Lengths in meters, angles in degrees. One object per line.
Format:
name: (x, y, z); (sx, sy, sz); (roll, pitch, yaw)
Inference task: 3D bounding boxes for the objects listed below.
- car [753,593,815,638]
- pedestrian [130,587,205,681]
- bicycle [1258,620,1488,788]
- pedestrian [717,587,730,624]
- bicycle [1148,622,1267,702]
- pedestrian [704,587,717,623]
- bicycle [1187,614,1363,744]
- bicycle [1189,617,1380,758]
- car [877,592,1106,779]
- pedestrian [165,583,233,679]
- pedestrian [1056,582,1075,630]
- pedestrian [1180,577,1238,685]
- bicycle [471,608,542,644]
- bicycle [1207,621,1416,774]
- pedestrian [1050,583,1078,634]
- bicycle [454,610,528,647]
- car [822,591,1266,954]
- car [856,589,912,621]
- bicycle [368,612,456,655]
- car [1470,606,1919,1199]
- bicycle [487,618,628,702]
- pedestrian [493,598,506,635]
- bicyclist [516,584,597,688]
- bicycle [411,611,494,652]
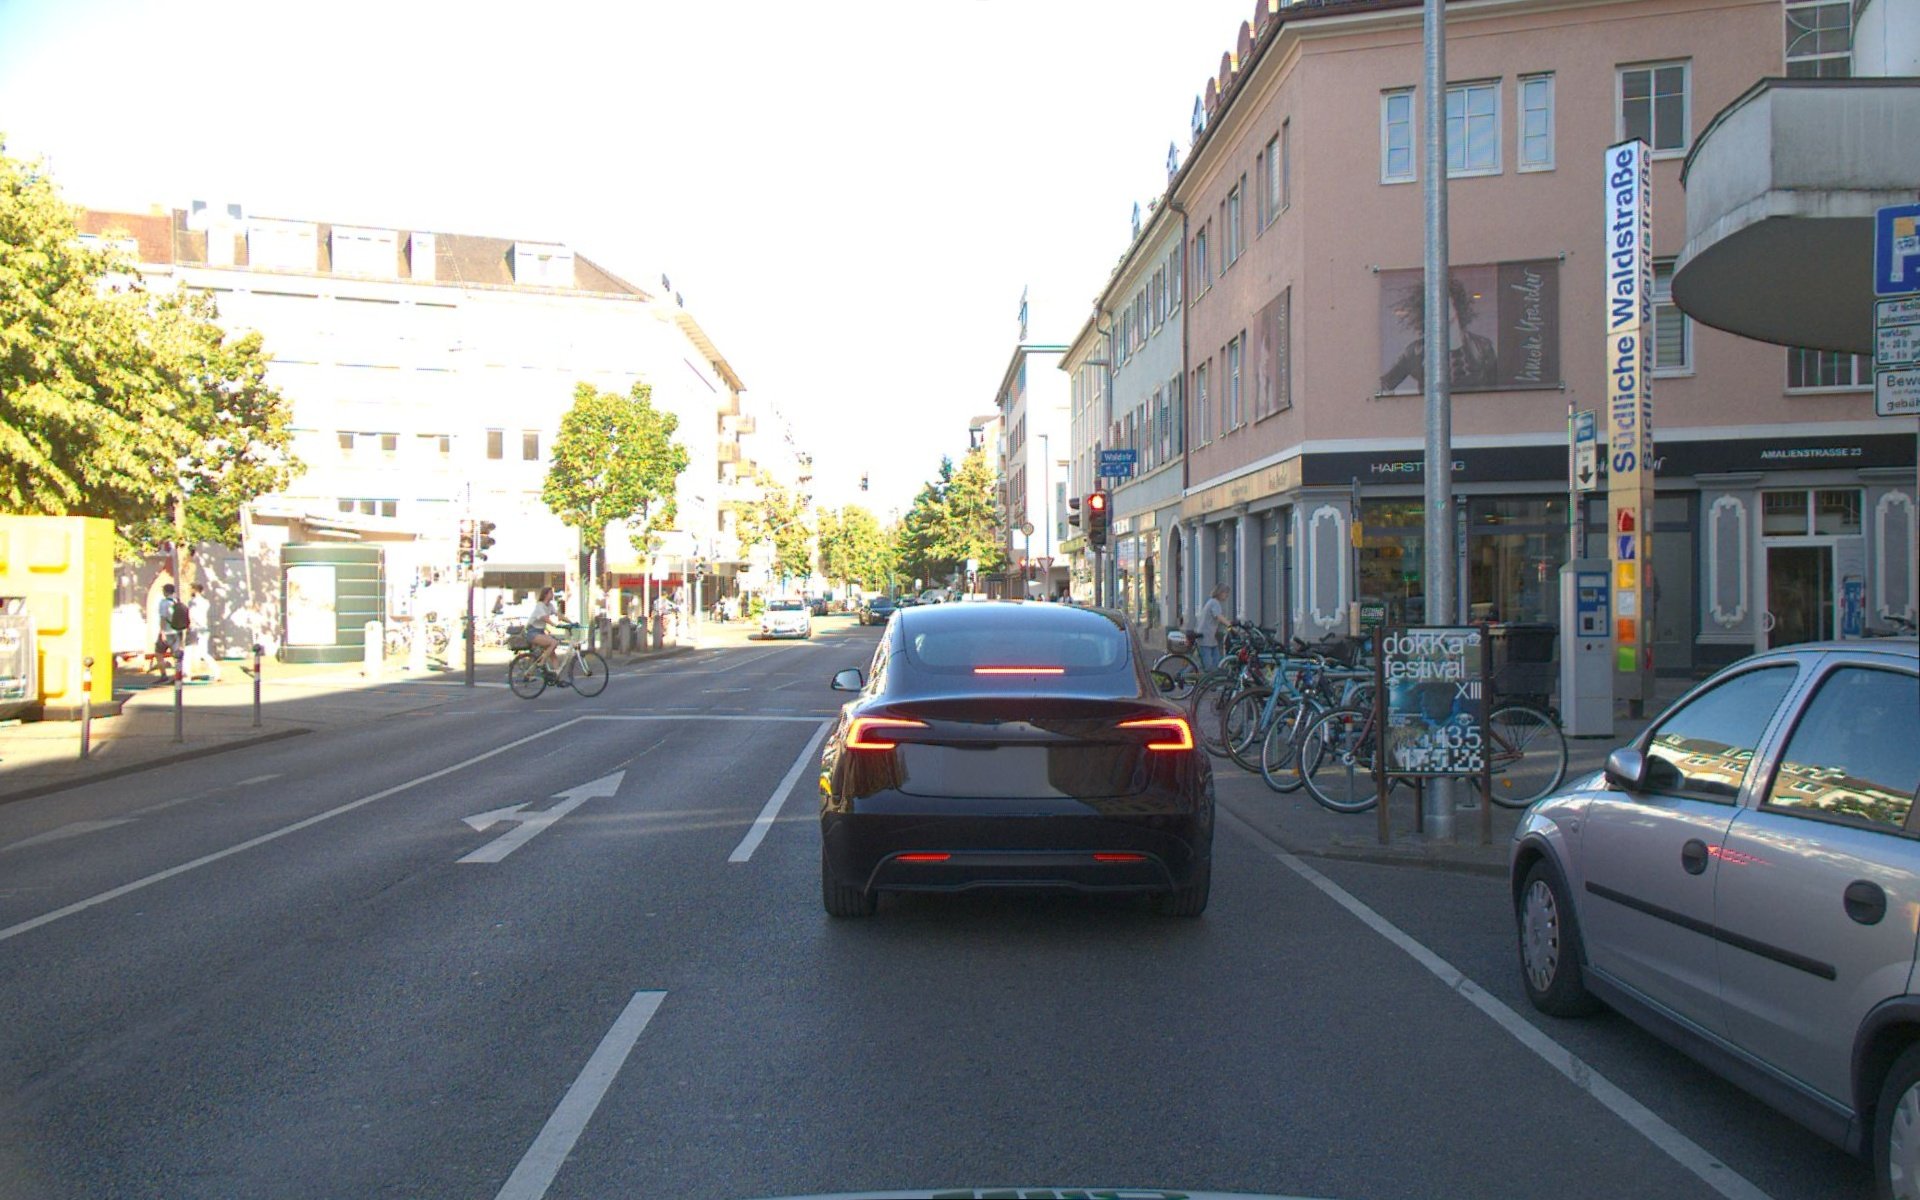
car: (-6.800, 0.574, 64.174); (1.953, 1.567, 3.999); (-3, 0, -1)
pedestrian: (-14.270, 0.599, 29.798); (0.966, 1.665, 0.737); (0, 0, 3)
bicycle: (3.105, 0.770, 12.481); (1.595, 1.180, 0.432); (-2, 0, -2)
pedestrian: (-13.496, 0.313, 94.416); (0.613, 2.049, 0.575); (0, 0, -1)
bicycle: (3.426, 0.851, 23.004); (1.581, 1.063, 0.591); (1, 0, 3)
pedestrian: (-14.237, 0.259, 94.417); (0.613, 2.049, 0.707); (0, 0, -1)
bicycle: (3.036, 0.759, 16.000); (1.594, 1.180, 0.433); (-2, 0, 0)
bicycle: (2.901, 0.774, 14.849); (1.595, 1.180, 0.432); (-2, 0, -2)
car: (0.253, 0.672, 14.993); (1.812, 1.480, 3.786); (0, 0, 0)
pedestrian: (-14.034, 0.561, 30.517); (0.882, 1.755, 0.744); (0, 0, 3)
pedestrian: (3.986, 0.220, 62.389); (0.689, 1.814, 0.533); (0, 0, -1)
pedestrian: (3.461, 0.426, 23.007); (0.727, 1.466, 0.582); (1, 0, 3)
bicycle: (-14.570, 0.831, 53.149); (2.040, 1.123, 0.806); (0, 0, -1)
bicycle: (2.887, 0.790, 13.647); (1.595, 1.180, 0.432); (-2, 0, -2)
pedestrian: (3.906, 0.318, 62.238); (0.979, 1.883, 0.615); (0, 0, -1)
bicycle: (-14.428, 0.874, 50.958); (2.040, 1.123, 0.806); (0, 0, -1)
car: (0.346, 0.699, 8.661); (1.812, 1.480, 3.786); (0, 0, 0)
car: (-4.236, 0.260, 91.440); (2.017, 1.757, 4.632); (0, 0, -16)
bicycle: (-14.456, 0.876, 43.663); (2.040, 1.123, 0.806); (0, 0, -1)
car: (2.890, 0.743, 4.860); (1.588, 1.419, 3.886); (0, 0, 0)
bicycle: (-6.328, 0.948, 26.018); (2.080, 1.221, 0.629); (-3, -1, 15)
pedestrian: (-17.212, 0.622, 61.883); (0.412, 1.363, 0.393); (0, 0, -8)
bicyclist: (-6.343, 0.553, 26.032); (1.074, 1.617, 0.629); (0, 0, 15)
bicycle: (-14.161, 0.862, 46.187); (2.040, 1.123, 0.806); (0, 0, -1)
